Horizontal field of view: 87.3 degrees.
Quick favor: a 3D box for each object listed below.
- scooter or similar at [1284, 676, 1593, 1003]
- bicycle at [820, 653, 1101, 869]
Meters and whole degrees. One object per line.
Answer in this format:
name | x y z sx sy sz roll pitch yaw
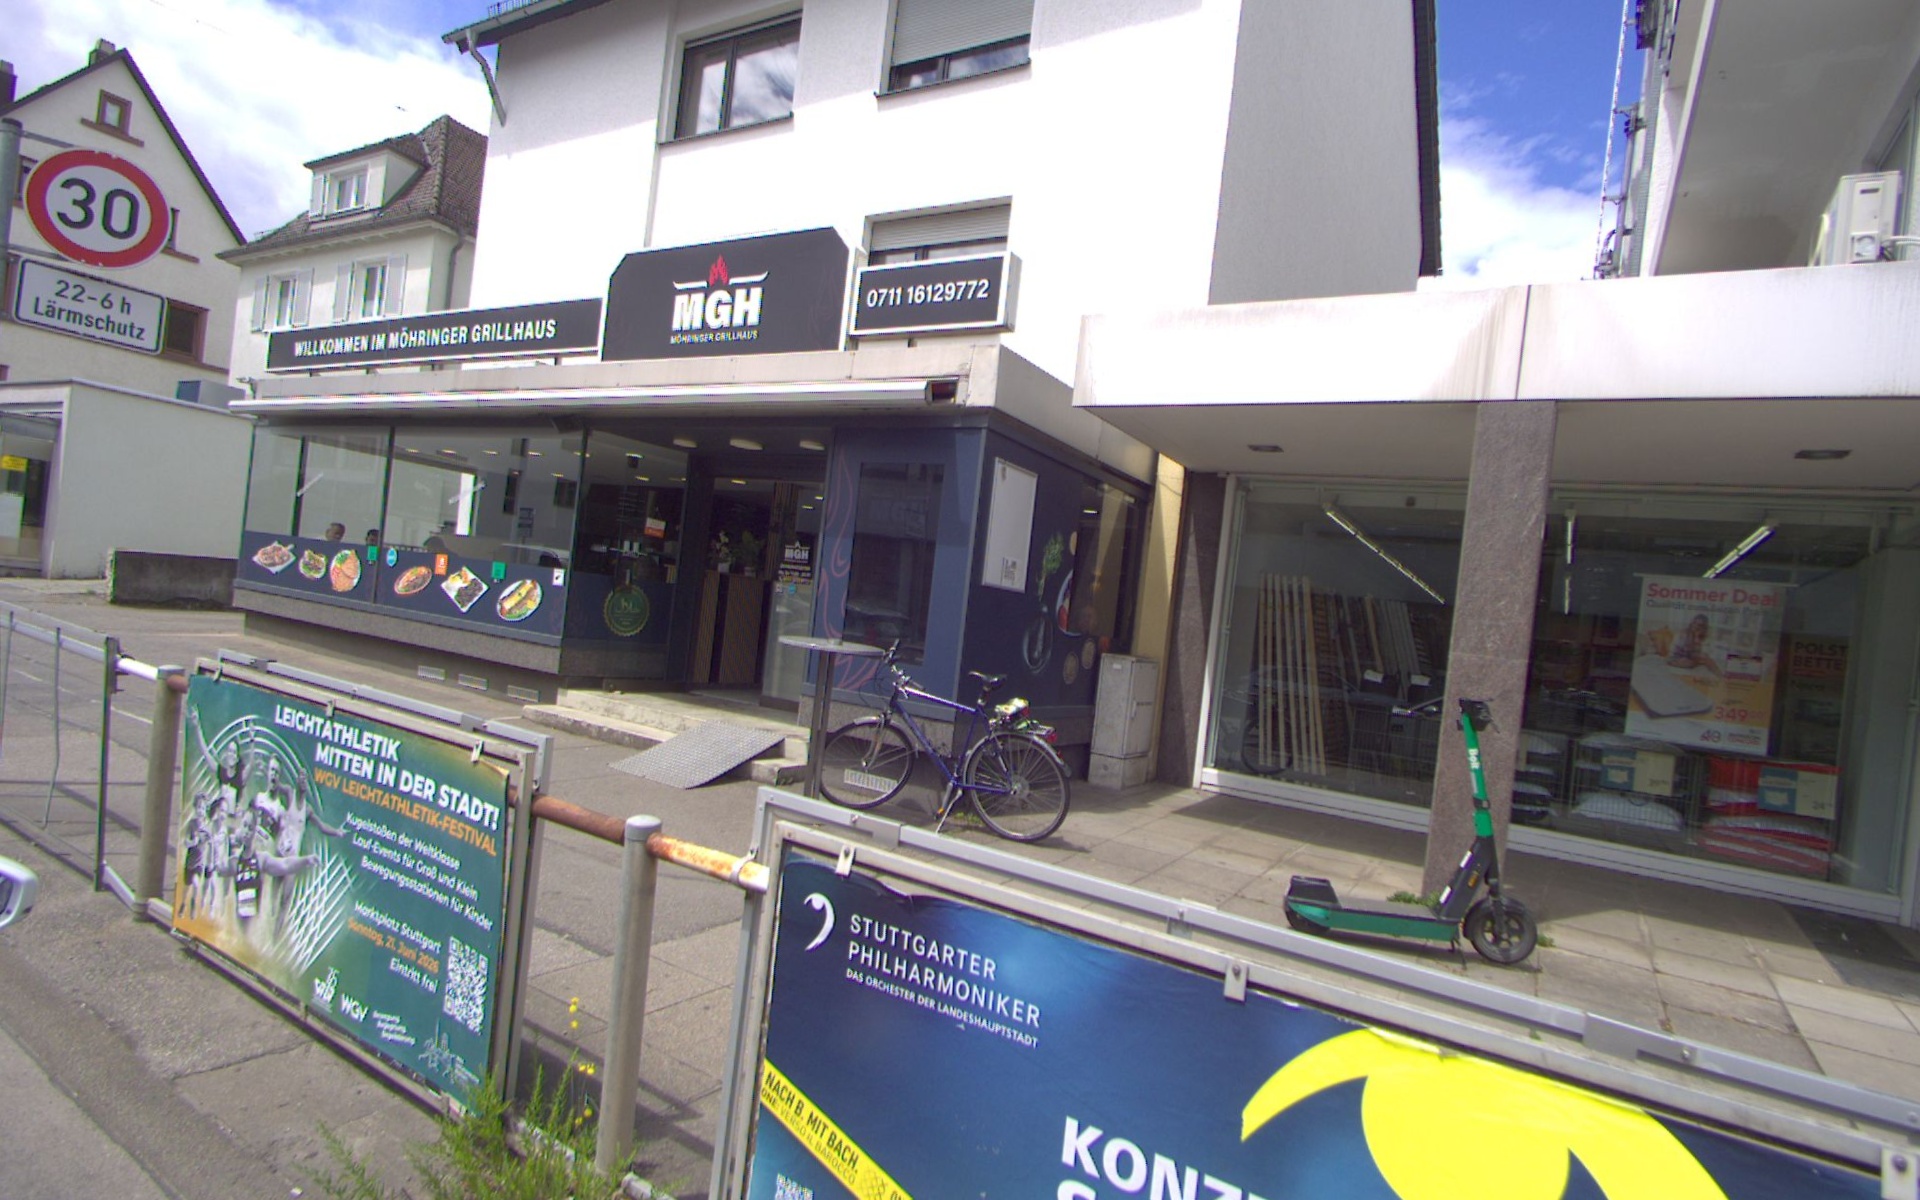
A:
scooter or similar | 2.285 1.097 4.957 1.163 1.283 0.689 6 1 20
bicycle | -0.013 0.955 6.320 1.606 1.041 0.476 7 1 23
